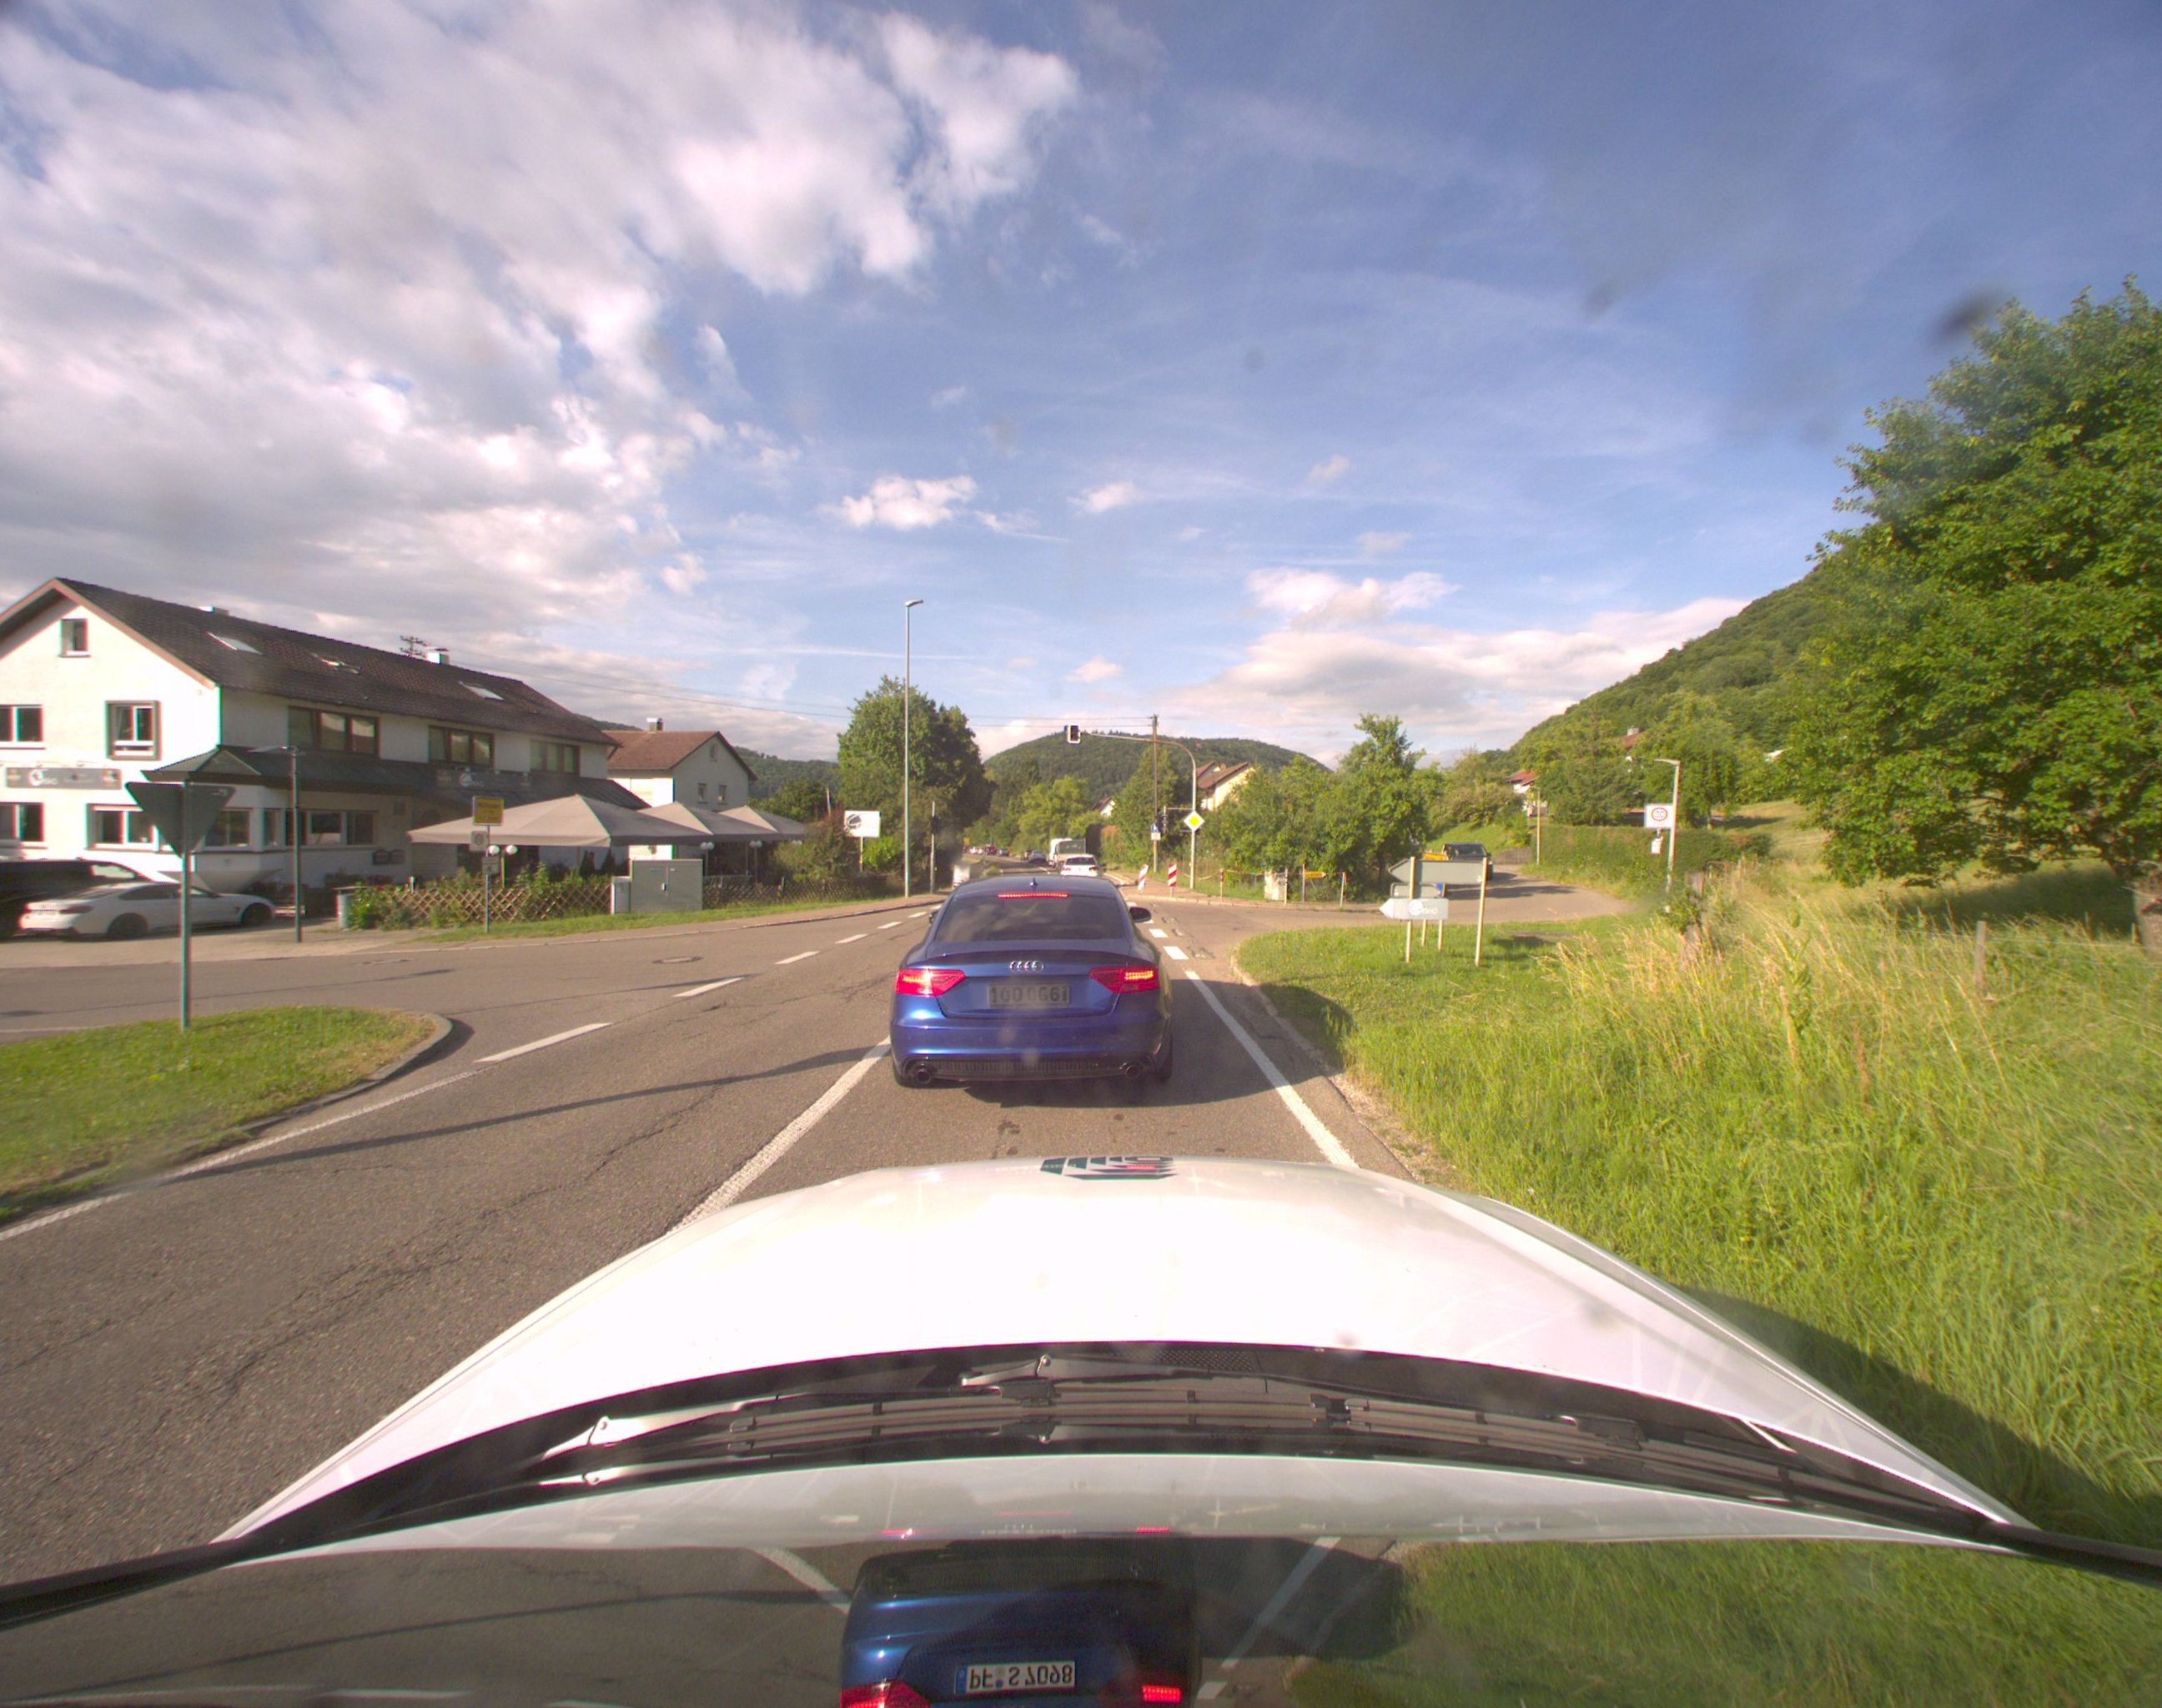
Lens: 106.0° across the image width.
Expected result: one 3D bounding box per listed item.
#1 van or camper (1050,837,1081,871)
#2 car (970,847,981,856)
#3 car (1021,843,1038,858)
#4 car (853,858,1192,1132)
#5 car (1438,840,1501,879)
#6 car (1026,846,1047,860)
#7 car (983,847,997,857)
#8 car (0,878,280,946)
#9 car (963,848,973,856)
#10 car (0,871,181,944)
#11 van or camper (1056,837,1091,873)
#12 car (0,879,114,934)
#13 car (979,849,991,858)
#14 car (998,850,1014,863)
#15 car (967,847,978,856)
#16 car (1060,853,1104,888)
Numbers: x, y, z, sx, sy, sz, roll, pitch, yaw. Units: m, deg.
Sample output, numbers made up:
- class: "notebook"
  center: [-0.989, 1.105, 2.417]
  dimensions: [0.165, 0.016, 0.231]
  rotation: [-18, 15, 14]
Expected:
- class: "van or camper"
  center: [-1.466, 0.001, 73.455]
  dimensions: [2.410, 2.904, 6.122]
  rotation: [-1, 1, -4]
- class: "car"
  center: [-21.556, -0.581, 166.019]
  dimensions: [1.751, 1.783, 3.982]
  rotation: [-2, 0, -13]
- class: "car"
  center: [-6.765, -0.441, 106.564]
  dimensions: [1.796, 1.794, 3.987]
  rotation: [-2, 0, -9]
- class: "car"
  center: [-0.310, 0.783, 6.599]
  dimensions: [1.824, 1.409, 4.226]
  rotation: [-2, 0, 0]
- class: "car"
  center: [20.303, 0.251, 42.806]
  dimensions: [1.980, 1.876, 4.889]
  rotation: [1, 1, 13]
- class: "car"
  center: [-5.204, -0.143, 95.289]
  dimensions: [1.820, 1.552, 3.984]
  rotation: [-1, 1, -12]
- class: "car"
  center: [-16.598, -0.377, 148.660]
  dimensions: [2.043, 1.684, 3.982]
  rotation: [-1, 1, -13]
- class: "car"
  center: [-24.642, 1.442, 21.603]
  dimensions: [1.984, 1.389, 4.582]
  rotation: [-2, 0, 5]
- class: "car"
  center: [-24.750, -0.415, 178.527]
  dimensions: [1.774, 1.783, 3.982]
  rotation: [-2, 0, -13]
- class: "car"
  center: [-27.334, 1.375, 21.424]
  dimensions: [1.984, 1.685, 4.582]
  rotation: [-2, 0, 5]
- class: "van or camper"
  center: [-0.625, 0.041, 58.799]
  dimensions: [2.176, 2.385, 5.362]
  rotation: [-1, 1, -4]
- class: "car"
  center: [-30.395, 1.505, 22.379]
  dimensions: [1.984, 1.389, 4.582]
  rotation: [-2, 0, 5]
- class: "car"
  center: [-18.566, -0.108, 157.246]
  dimensions: [1.944, 1.684, 3.982]
  rotation: [-2, 0, -13]
- class: "car"
  center: [-12.393, 0.387, 134.354]
  dimensions: [1.995, 2.013, 3.983]
  rotation: [-1, 0, -12]
- class: "car"
  center: [-22.918, -0.504, 171.975]
  dimensions: [1.774, 1.783, 3.982]
  rotation: [-2, 0, -13]
- class: "car"
  center: [0.060, 0.680, 35.819]
  dimensions: [1.765, 1.415, 4.174]
  rotation: [1, 0, 0]
